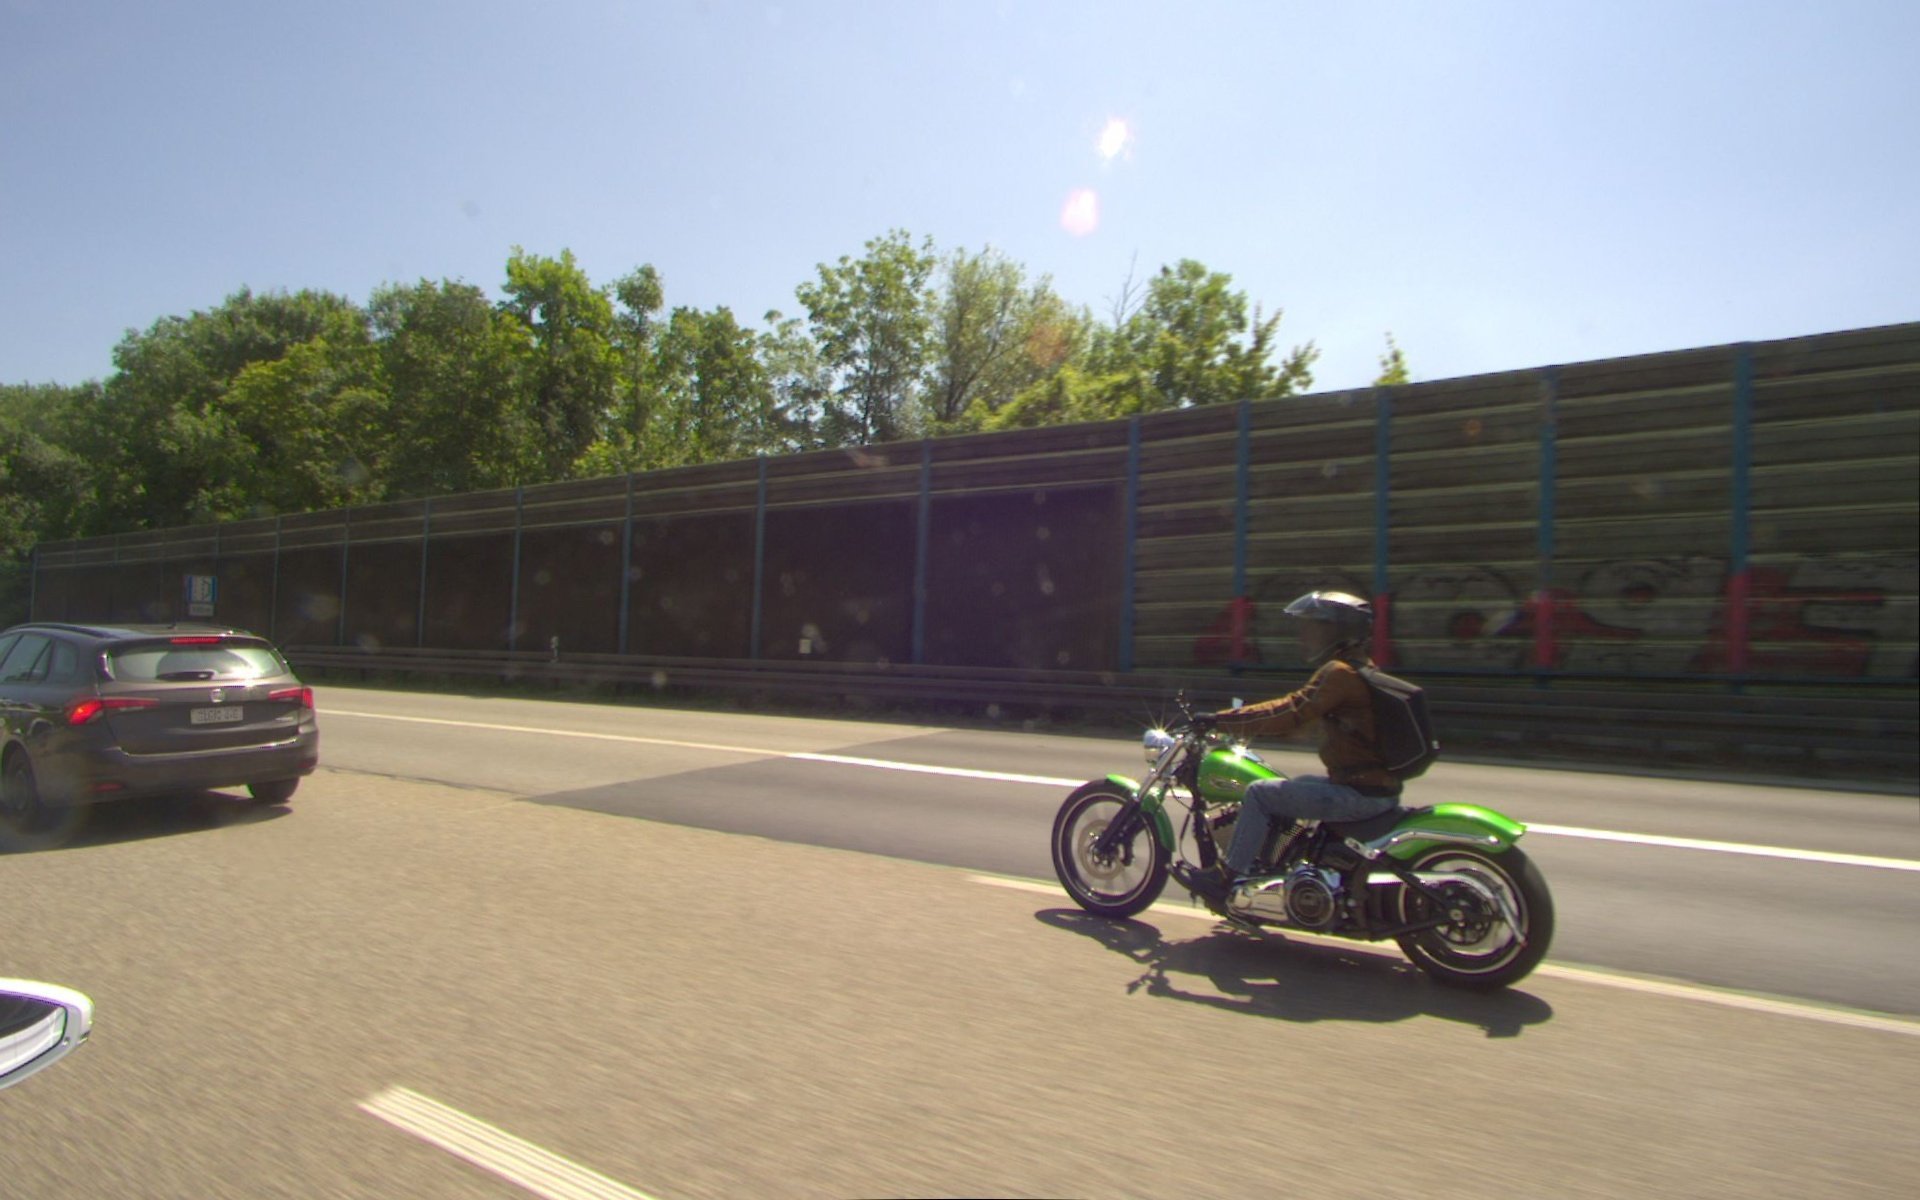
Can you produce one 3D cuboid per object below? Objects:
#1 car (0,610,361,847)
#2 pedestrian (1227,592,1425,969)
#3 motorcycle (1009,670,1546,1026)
[{"bbox_3d":[-7.170,0.870,8.475,4.338,1.532,1.835,0,-1,32],"label":"car"},{"bbox_3d":[1.665,0.728,4.511,0.629,1.498,0.849,0,-1,35],"label":"pedestrian"},{"bbox_3d":[1.409,0.982,4.690,2.246,1.197,0.857,0,-1,35],"label":"motorcycle"}]
